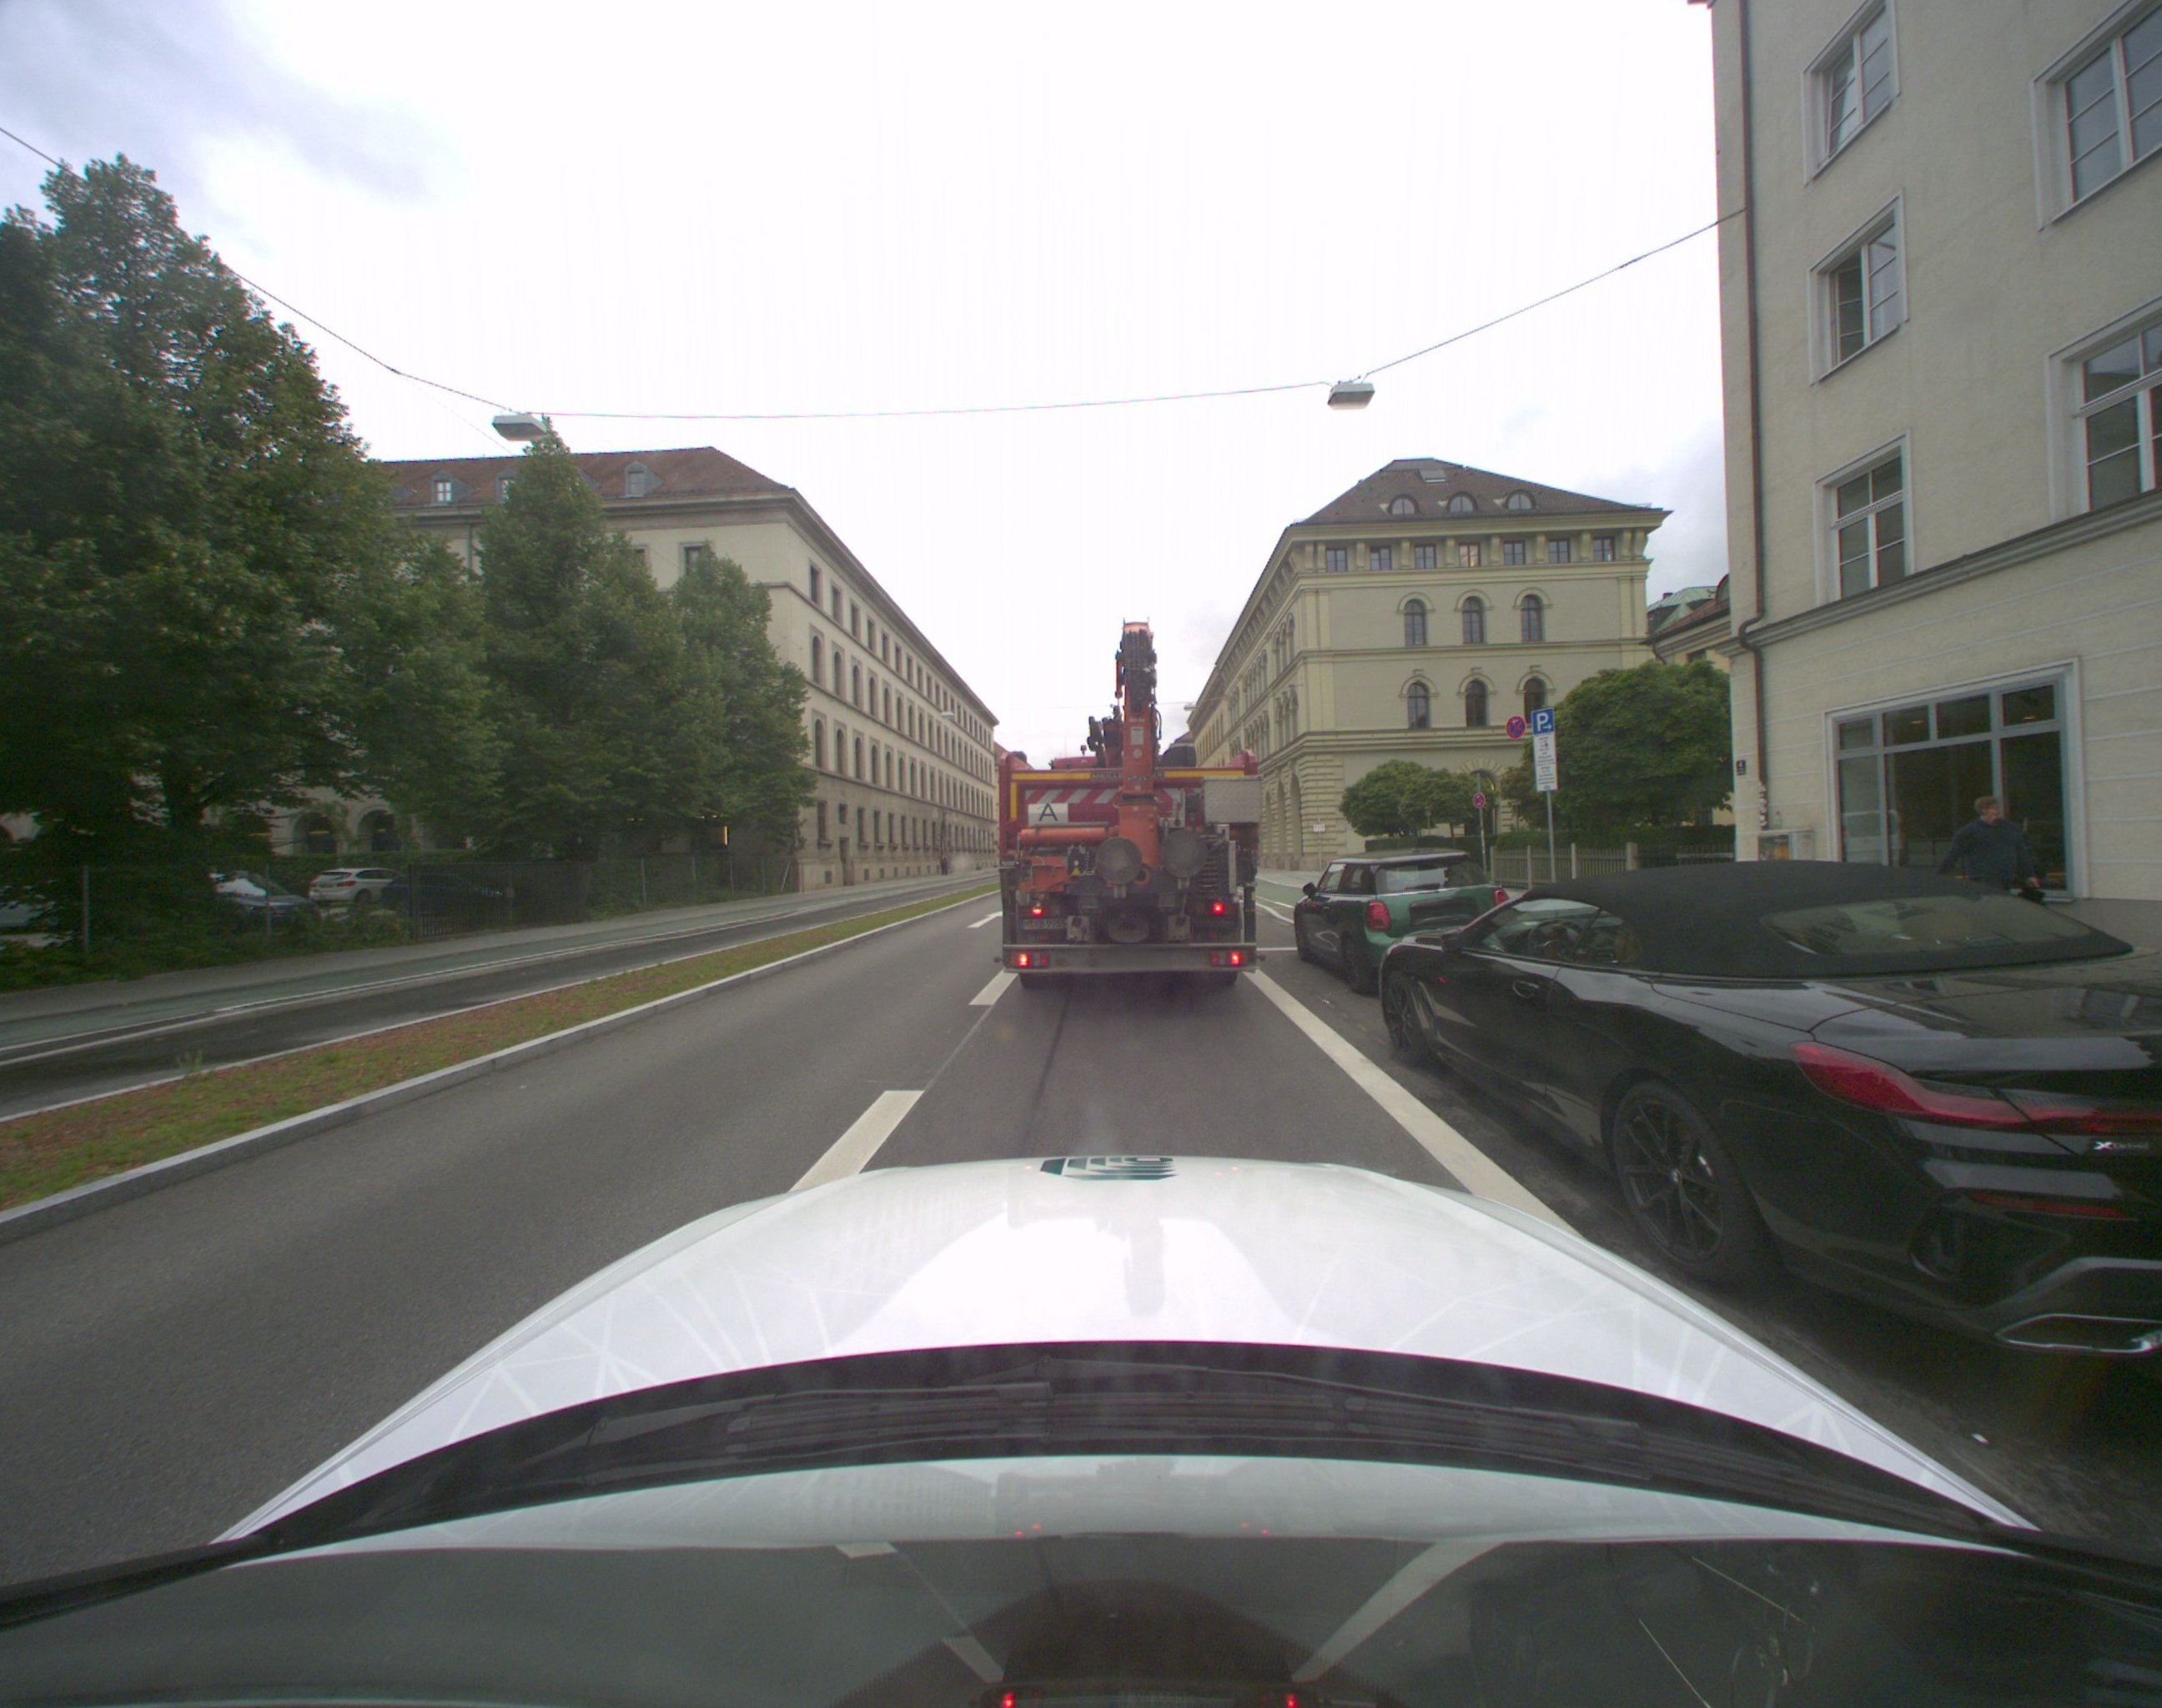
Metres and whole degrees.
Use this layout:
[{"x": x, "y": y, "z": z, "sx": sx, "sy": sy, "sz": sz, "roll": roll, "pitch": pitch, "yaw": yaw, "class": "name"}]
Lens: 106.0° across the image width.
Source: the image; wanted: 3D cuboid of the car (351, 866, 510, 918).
[{"x": -22.181, "y": 1.275, "z": 27.885, "sx": 3.914, "sy": 1.545, "sz": 1.836, "roll": -2, "pitch": 0, "yaw": 0, "class": "car"}]

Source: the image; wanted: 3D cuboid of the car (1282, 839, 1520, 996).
[{"x": 3.598, "y": 0.625, "z": 9.802, "sx": 1.604, "sy": 1.495, "sz": 3.426, "roll": -2, "pitch": 0, "yaw": 2, "class": "car"}]

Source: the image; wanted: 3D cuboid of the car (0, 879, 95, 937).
[{"x": -31.418, "y": 1.576, "z": 23.063, "sx": 1.824, "sy": 1.545, "sz": 4.178, "roll": -1, "pitch": 0, "yaw": 1, "class": "car"}]

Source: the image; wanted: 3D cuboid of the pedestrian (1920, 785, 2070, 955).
[{"x": 10.417, "y": 0.170, "z": 9.314, "sx": 0.787, "sy": 1.836, "sz": 0.778, "roll": -2, "pitch": 0, "yaw": 3, "class": "pedestrian"}]

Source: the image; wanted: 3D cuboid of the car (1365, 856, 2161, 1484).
[{"x": 2.940, "y": 0.729, "z": 4.060, "sx": 1.673, "sy": 1.386, "sz": 4.429, "roll": -1, "pitch": 0, "yaw": 2, "class": "car"}]

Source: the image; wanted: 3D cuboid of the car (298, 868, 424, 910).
[{"x": -30.807, "y": 1.449, "z": 34.994, "sx": 1.824, "sy": 1.545, "sz": 3.941, "roll": -1, "pitch": 0, "yaw": 1, "class": "car"}]

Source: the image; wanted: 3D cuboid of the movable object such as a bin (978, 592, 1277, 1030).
[{"x": 0.465, "y": -0.369, "z": 9.743, "sx": 2.414, "sy": 3.611, "sz": 5.853, "roll": -1, "pitch": 0, "yaw": 1, "class": "movable object such as a bin"}]

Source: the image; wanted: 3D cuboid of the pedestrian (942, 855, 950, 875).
[{"x": -12.350, "y": 1.018, "z": 74.367, "sx": 0.586, "sy": 1.831, "sz": 0.499, "roll": -1, "pitch": 0, "yaw": 1, "class": "pedestrian"}]

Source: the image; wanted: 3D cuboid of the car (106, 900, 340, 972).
[{"x": -21.607, "y": 2.027, "z": 20.626, "sx": 3.914, "sy": 1.545, "sz": 1.836, "roll": -1, "pitch": 0, "yaw": 0, "class": "car"}]

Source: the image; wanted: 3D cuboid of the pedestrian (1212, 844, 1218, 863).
[{"x": 13.214, "y": -0.081, "z": 80.482, "sx": 0.444, "sy": 1.836, "sz": 0.556, "roll": -2, "pitch": 0, "yaw": 3, "class": "pedestrian"}]
